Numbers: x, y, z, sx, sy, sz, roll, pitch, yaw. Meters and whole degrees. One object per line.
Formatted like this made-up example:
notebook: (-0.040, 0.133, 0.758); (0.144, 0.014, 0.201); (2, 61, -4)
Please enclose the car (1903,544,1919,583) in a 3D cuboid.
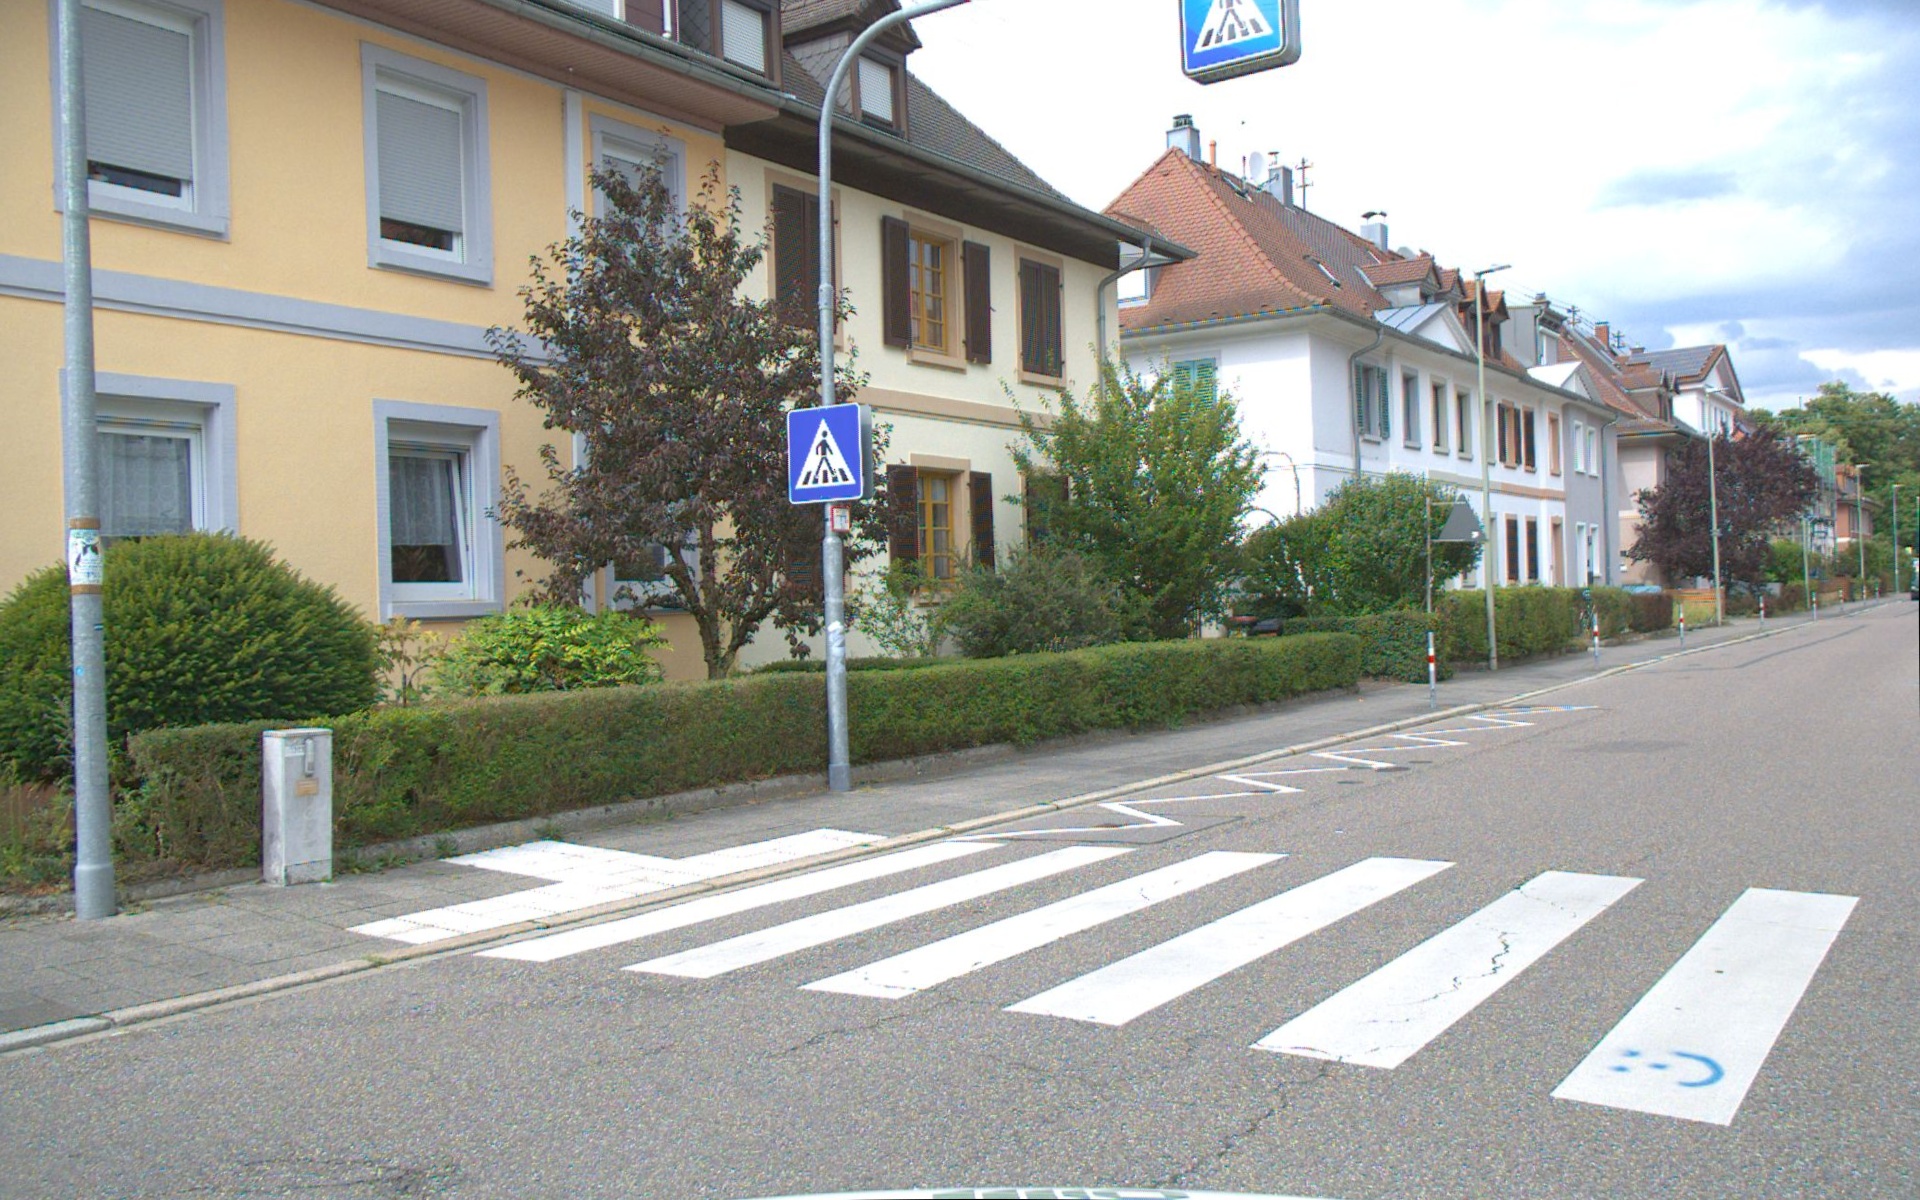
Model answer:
car: (52.123, -2.022, 89.108); (1.958, 2.049, 3.989); (-2, 0, 33)
